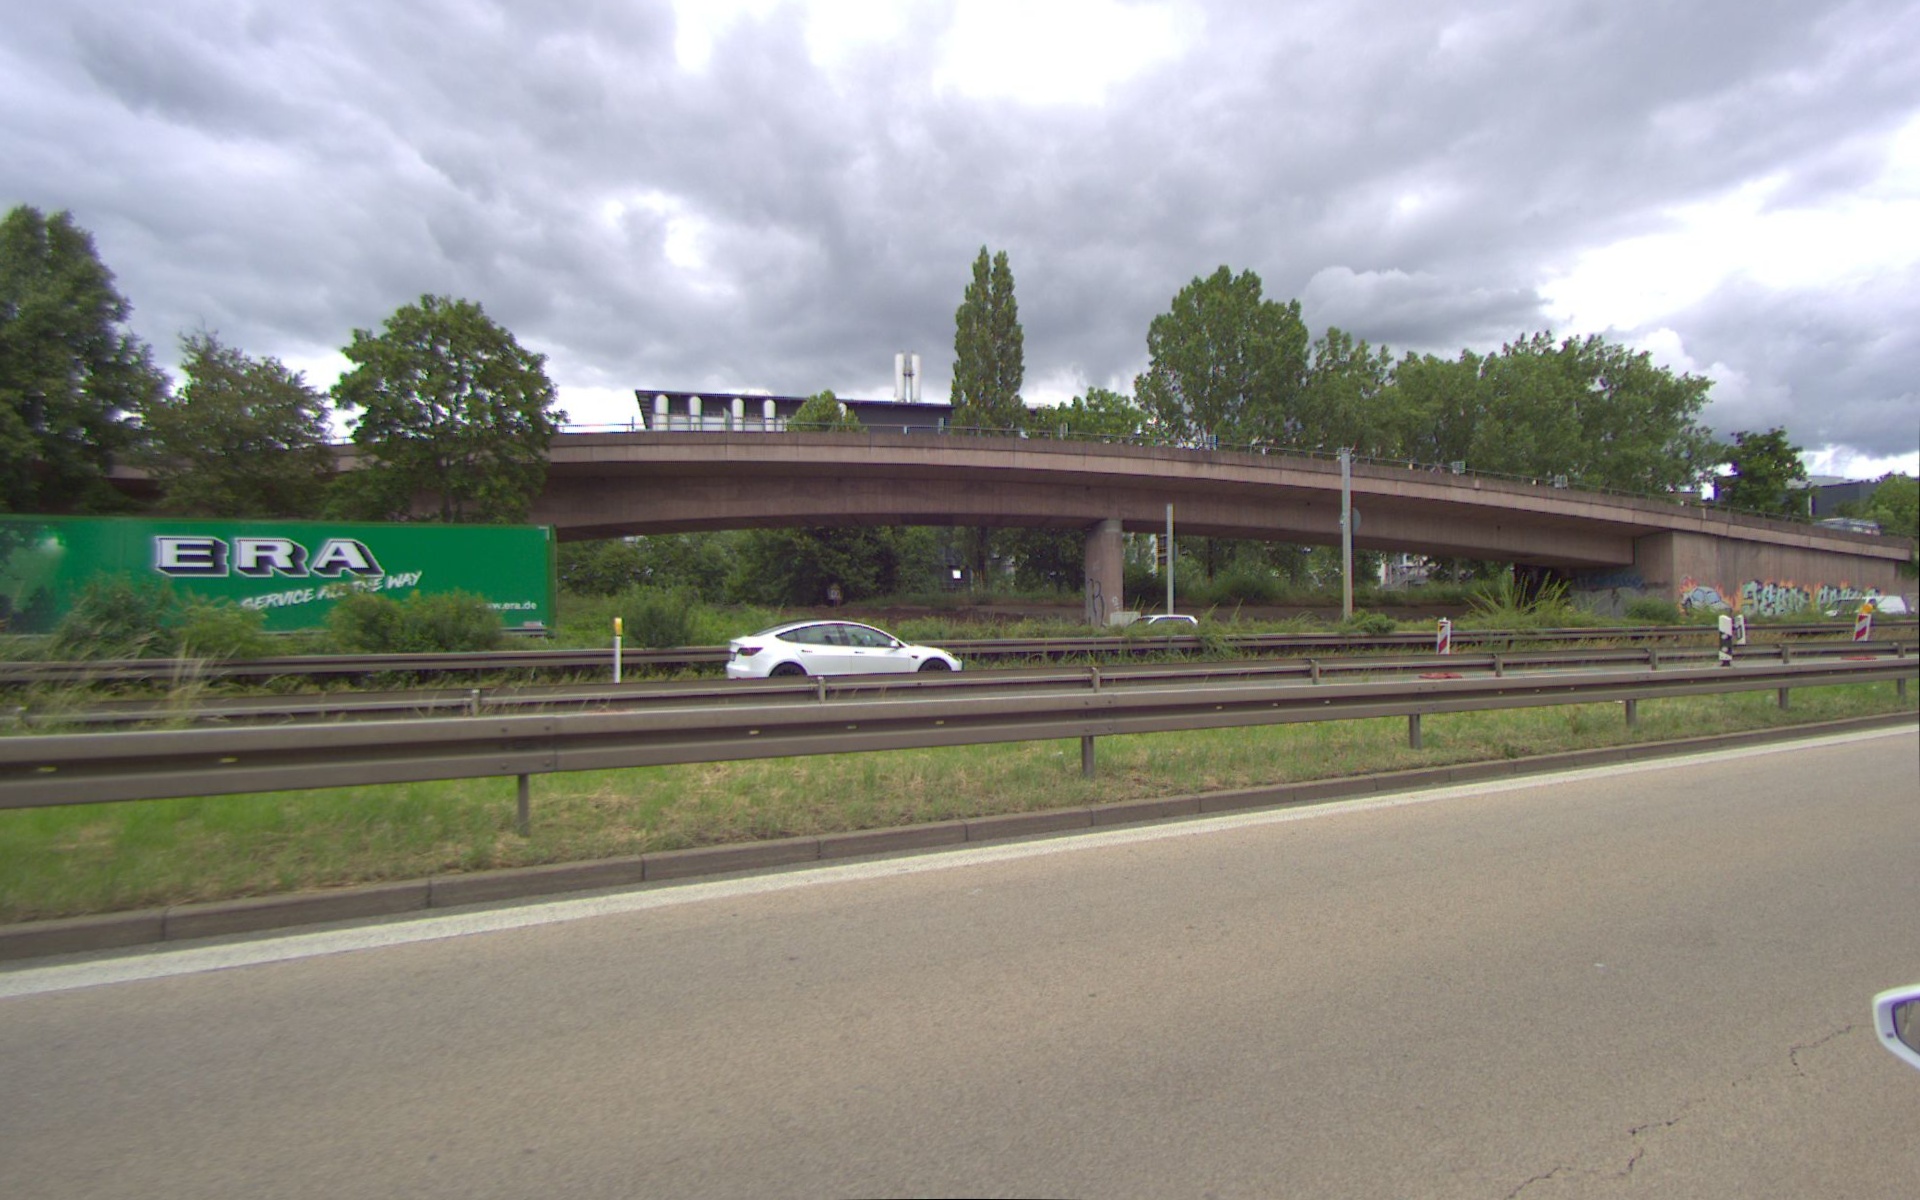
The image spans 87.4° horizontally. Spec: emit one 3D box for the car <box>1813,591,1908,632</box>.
[{"bbox_3d":[45.813,0.581,51.097,4.645,2.040,1.987,0,0,-26],"label":"car"}]

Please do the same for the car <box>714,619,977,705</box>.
[{"bbox_3d":[-2.224,1.113,19.428,4.730,1.475,1.990,0,0,-21],"label":"car"}]

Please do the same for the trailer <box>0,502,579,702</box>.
[{"bbox_3d":[-16.910,0.076,25.098,13.776,4.351,2.766,0,0,-23],"label":"trailer"}]

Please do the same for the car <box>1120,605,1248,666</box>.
[{"bbox_3d":[7.817,1.185,35.138,3.937,2.040,1.992,0,0,-18],"label":"car"}]

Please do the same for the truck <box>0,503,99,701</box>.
[{"bbox_3d":[-23.266,0.038,22.485,5.421,4.329,2.748,0,0,-22],"label":"truck"}]
